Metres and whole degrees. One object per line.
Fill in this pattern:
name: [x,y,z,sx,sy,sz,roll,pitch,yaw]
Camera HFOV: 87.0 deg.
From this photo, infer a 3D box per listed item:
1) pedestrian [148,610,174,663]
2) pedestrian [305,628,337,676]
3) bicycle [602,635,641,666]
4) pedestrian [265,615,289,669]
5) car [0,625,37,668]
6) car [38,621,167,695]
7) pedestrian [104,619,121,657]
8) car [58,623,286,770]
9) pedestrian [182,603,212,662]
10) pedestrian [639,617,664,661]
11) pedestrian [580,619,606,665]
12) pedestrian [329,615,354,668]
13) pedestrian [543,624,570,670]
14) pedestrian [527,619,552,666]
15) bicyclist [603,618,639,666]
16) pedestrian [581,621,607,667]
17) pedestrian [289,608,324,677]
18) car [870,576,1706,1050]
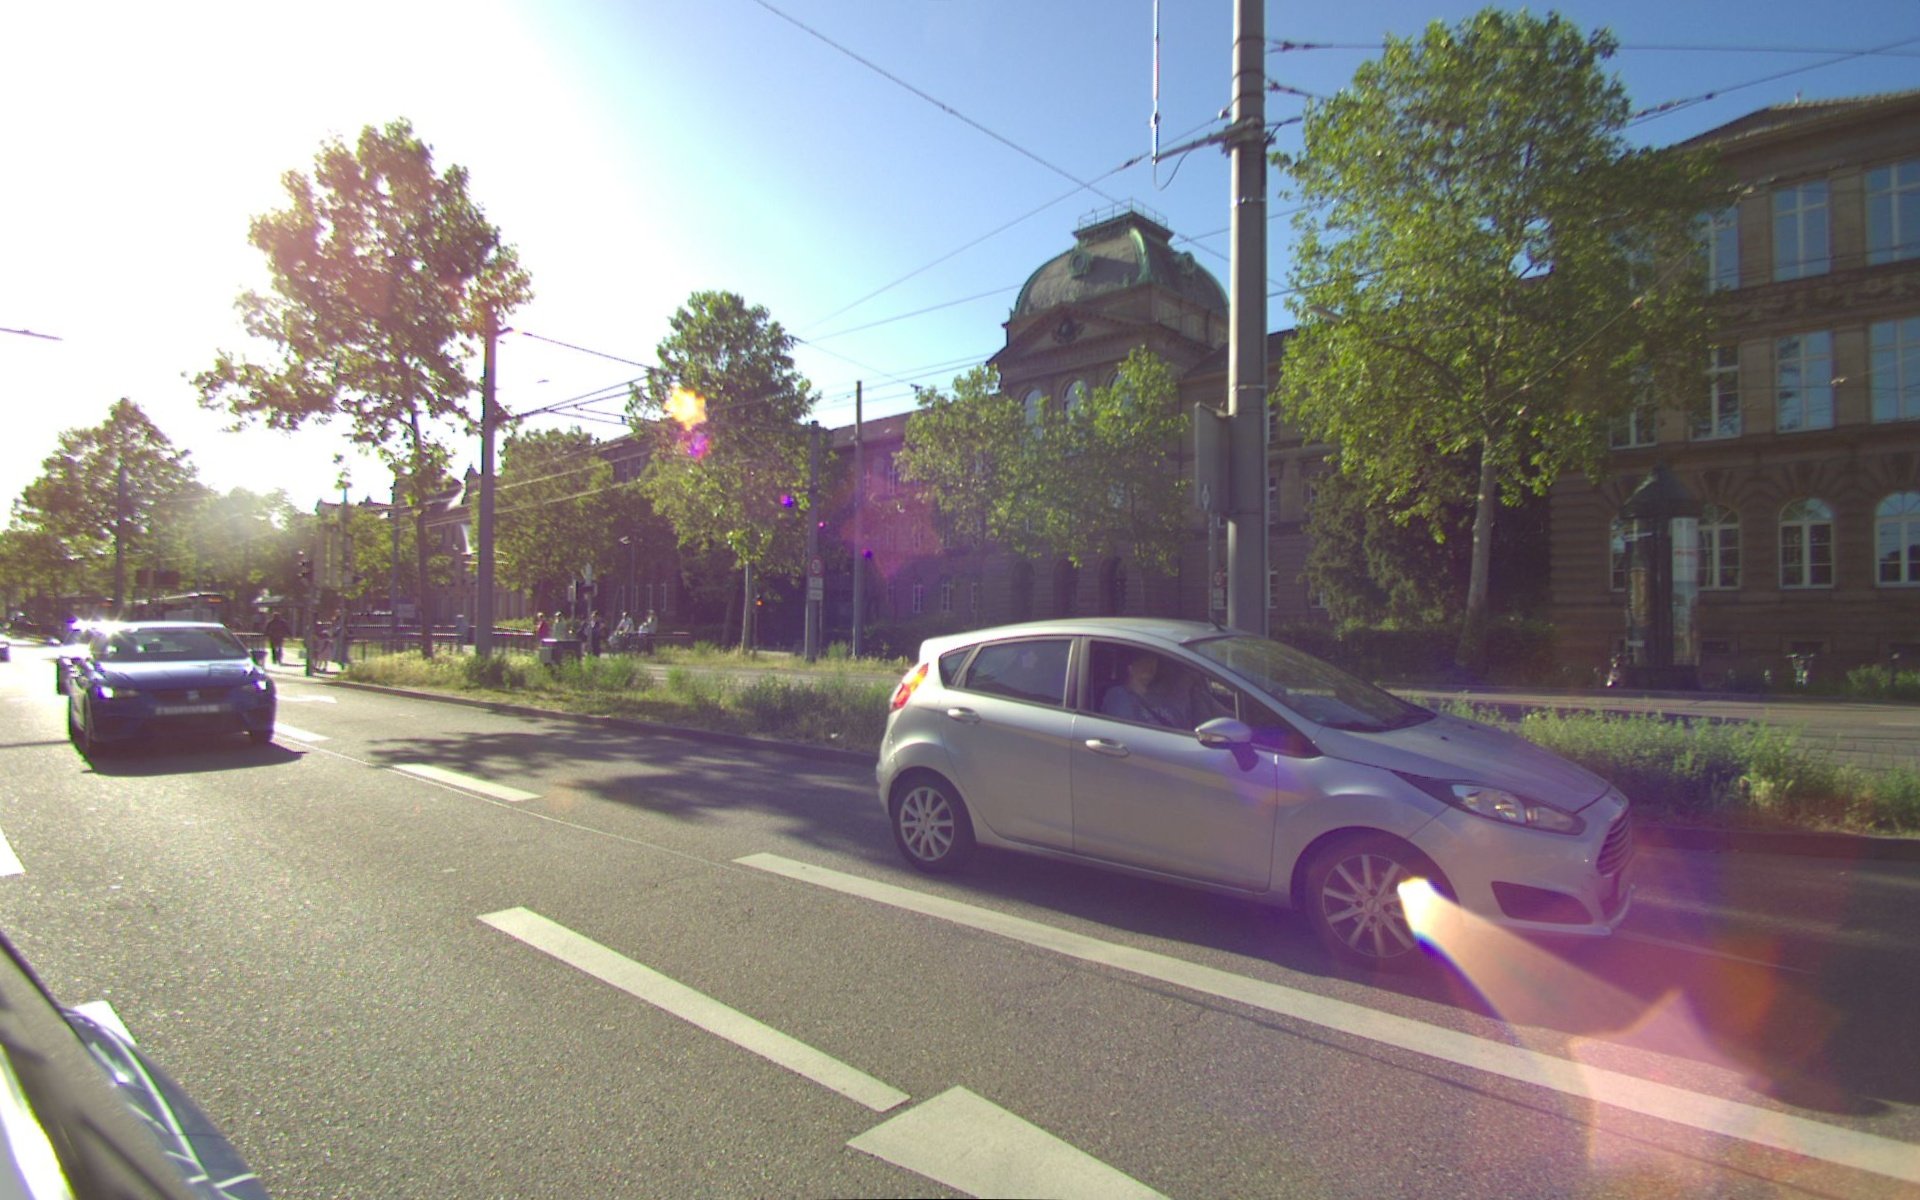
pedestrian: [-31.320,1.408,39.653,0.701,2.029,0.787,0,-1,-45]
pedestrian: [-16.858,1.356,26.703,0.424,1.242,0.587,-1,-1,34]
bicycle: [-11.933,1.759,35.726,0.539,1.049,1.657,0,-1,12]
pedestrian: [-21.460,1.314,31.789,0.571,1.674,0.668,0,-1,-38]
car: [-37.157,1.778,39.365,1.749,1.588,3.828,0,-1,-41]
car: [-18.990,1.213,22.354,4.001,1.439,1.774,-1,-1,44]
pedestrian: [-47.405,2.108,56.635,0.704,2.131,0.788,0,-1,-42]
car: [-9.649,1.036,12.283,1.753,1.459,3.871,0,-1,-44]
pedestrian: [-29.192,1.243,38.738,0.773,2.204,0.803,-1,-1,-26]
pedestrian: [-11.514,1.460,37.777,0.692,1.633,0.592,-1,-1,11]
pedestrian: [-14.012,1.597,38.638,0.692,1.749,0.592,-1,-1,11]
pedestrian: [-19.753,1.307,32.322,0.537,1.674,0.731,0,-1,-42]
pedestrian: [-15.078,1.769,37.819,0.692,1.689,0.592,-1,-1,11]
pedestrian: [-16.094,1.633,38.731,0.692,1.758,0.592,-1,-1,11]
bicyclist: [-11.963,1.467,35.732,0.826,1.656,0.965,-1,-1,11]
pedestrian: [-13.477,1.608,37.267,0.692,1.656,0.593,-1,-1,8]
pedestrian: [-17.405,1.126,26.968,0.503,1.820,0.639,-1,-1,34]
car: [1.458,0.746,5.339,3.861,1.607,1.645,-1,-1,41]
